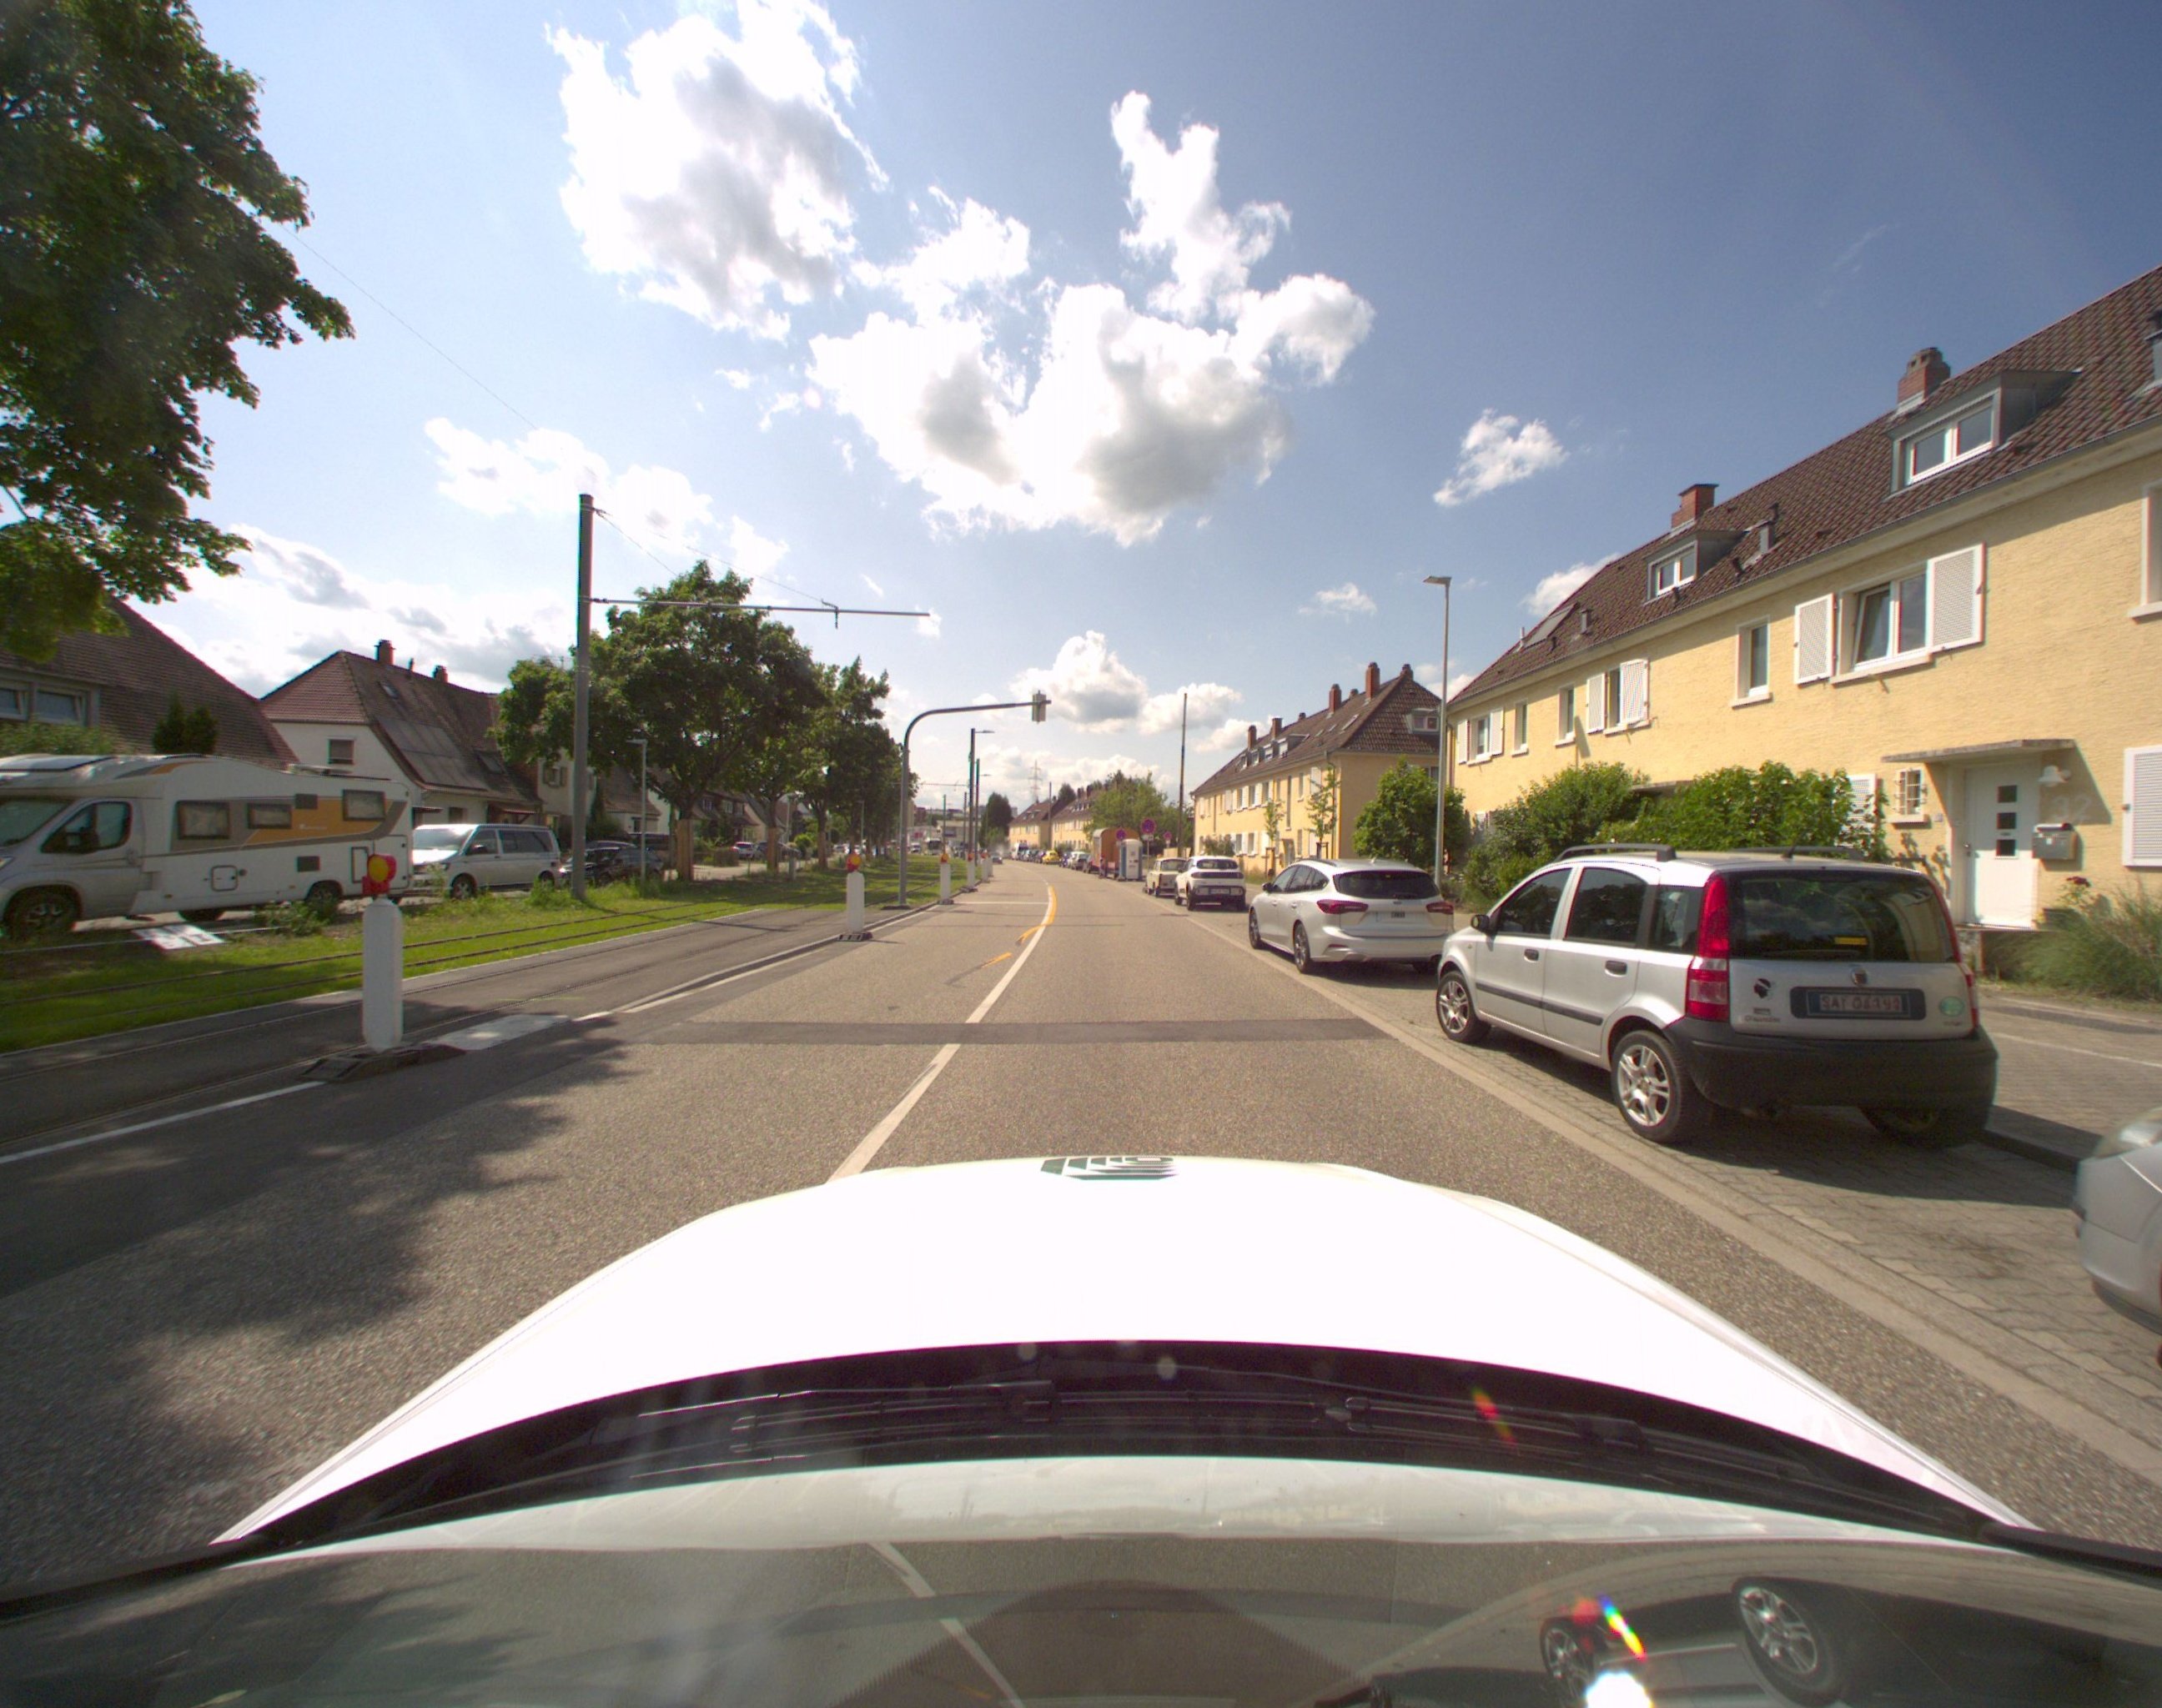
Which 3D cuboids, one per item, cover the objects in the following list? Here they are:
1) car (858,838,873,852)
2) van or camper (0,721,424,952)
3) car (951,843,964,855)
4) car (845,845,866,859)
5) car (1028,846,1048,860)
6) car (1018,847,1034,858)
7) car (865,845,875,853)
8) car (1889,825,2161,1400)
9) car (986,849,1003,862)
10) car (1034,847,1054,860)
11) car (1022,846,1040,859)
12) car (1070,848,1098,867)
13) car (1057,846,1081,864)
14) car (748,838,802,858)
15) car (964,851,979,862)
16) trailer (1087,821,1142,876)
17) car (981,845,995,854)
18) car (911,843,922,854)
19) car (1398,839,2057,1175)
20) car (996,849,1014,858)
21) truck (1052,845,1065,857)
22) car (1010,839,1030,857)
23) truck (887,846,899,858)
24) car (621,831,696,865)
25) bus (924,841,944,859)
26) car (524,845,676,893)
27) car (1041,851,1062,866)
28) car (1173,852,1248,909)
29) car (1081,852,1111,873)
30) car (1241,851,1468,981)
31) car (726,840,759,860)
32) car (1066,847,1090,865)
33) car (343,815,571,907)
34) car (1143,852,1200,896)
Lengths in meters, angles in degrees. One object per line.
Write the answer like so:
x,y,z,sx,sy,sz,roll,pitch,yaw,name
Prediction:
-43.156,-1.745,163.260,2.082,2.721,6.953,-1,1,-21,car
-15.157,-0.257,13.713,2.369,2.970,7.292,1,0,-1,van or camper
-20.404,-0.874,134.624,1.956,1.966,5.272,0,1,-11,car
-29.239,-0.225,105.702,1.879,1.768,5.071,1,0,-7,car
-5.296,-0.151,100.488,1.639,1.602,3.912,1,0,-15,car
-7.410,-0.202,109.014,1.537,1.445,3.721,1,0,-13,car
-39.847,-0.999,154.003,1.732,1.505,4.543,-1,1,-16,car
3.689,0.694,0.739,1.702,1.504,4.254,1,0,0,car
-9.997,0.165,93.846,1.665,1.449,3.945,-2,1,-10,car
-4.353,-0.049,94.935,1.638,1.482,4.107,1,0,-13,car
-6.466,-0.239,104.397,1.638,1.602,4.012,1,0,-13,car
0.207,0.253,67.626,1.705,1.449,4.823,1,0,-7,car
-1.192,0.091,77.738,1.549,1.641,4.232,1,0,-10,car
-29.176,-0.572,77.772,4.474,1.836,2.056,1,0,-13,car
-15.647,0.330,116.097,1.726,1.389,4.103,1,0,-13,car
2.044,-0.344,51.479,2.687,3.226,5.071,1,0,-6,trailer
-16.022,-0.817,140.299,1.768,1.417,3.977,-1,1,-17,car
-39.019,-1.308,193.218,2.107,2.443,5.542,1,0,-16,car
3.752,0.704,5.693,1.622,1.550,3.809,0,0,1,car
-11.907,-0.070,126.734,1.804,1.458,4.736,-1,0,-18,car
-3.101,-0.383,113.092,1.348,1.688,2.430,1,0,-13,truck
-8.540,-0.818,114.233,1.932,2.480,5.491,0,1,-14,car
-57.660,-0.716,249.427,2.568,3.459,7.102,-1,1,-20,truck
-25.569,-0.353,49.422,3.903,1.897,1.927,3,-1,-26,car
-30.264,-0.864,167.437,2.643,3.412,12.176,-1,1,-18,bus
-15.417,0.430,26.481,1.844,1.387,4.812,1,0,3,car
-3.284,0.515,89.974,1.637,1.482,3.917,-2,2,-11,car
3.622,0.702,23.339,1.523,1.481,3.808,0,0,-1,car
1.091,0.606,60.003,1.576,1.449,4.442,1,0,-7,car
3.599,0.705,11.605,1.744,1.497,4.384,0,0,0,car
-27.616,-0.320,66.553,1.729,1.517,4.029,1,0,-11,car
-0.330,0.167,72.684,1.576,1.513,4.448,1,0,-7,car
-15.410,0.147,20.569,1.988,2.013,4.902,1,0,-1,car
3.272,0.681,30.040,1.460,1.502,4.104,0,0,-3,car
